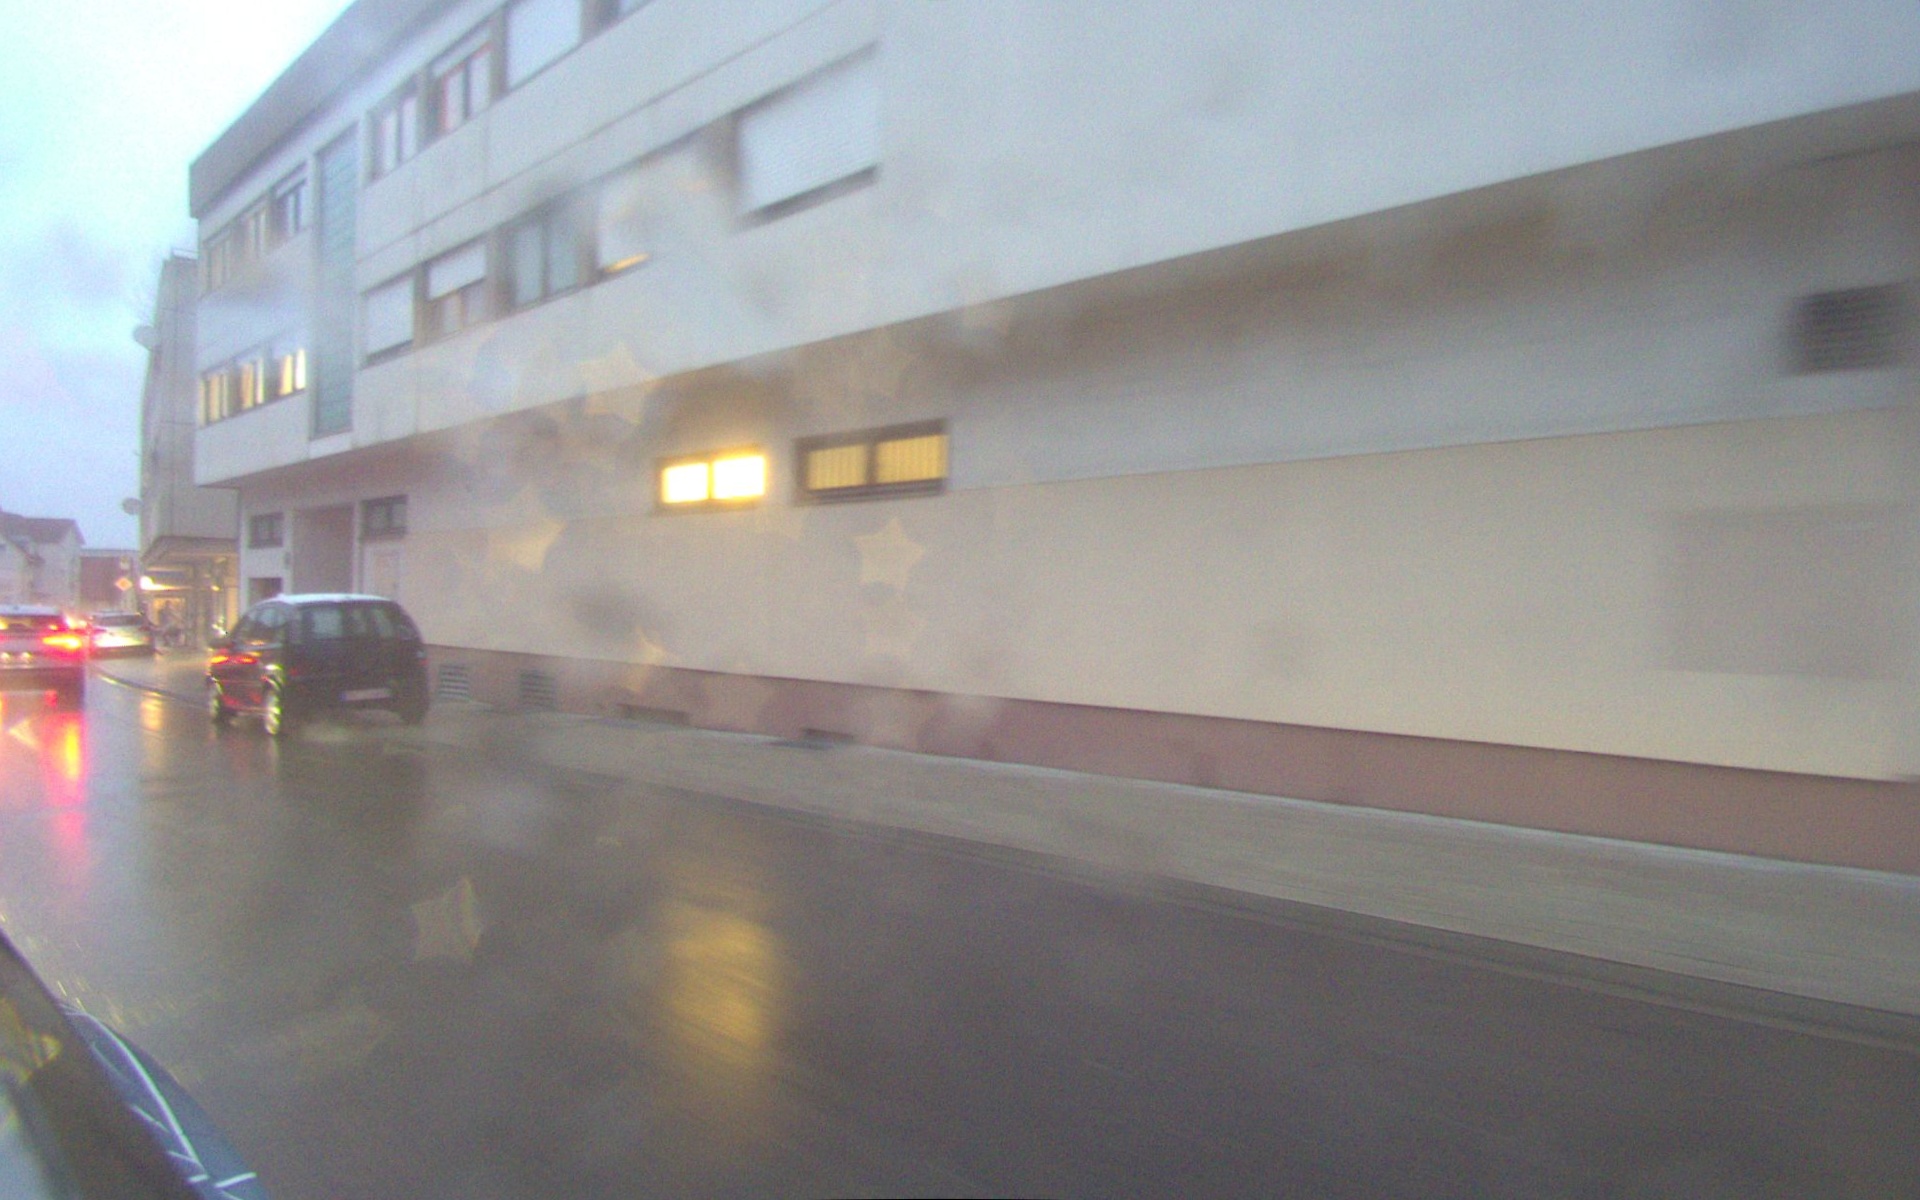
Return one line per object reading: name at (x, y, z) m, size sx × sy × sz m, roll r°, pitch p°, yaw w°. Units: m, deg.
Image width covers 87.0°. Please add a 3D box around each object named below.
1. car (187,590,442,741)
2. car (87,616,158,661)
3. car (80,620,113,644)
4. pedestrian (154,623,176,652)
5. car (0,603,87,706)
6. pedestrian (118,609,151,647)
car at (-8.403, 0.744, 13.059) m, size 3.810 × 1.655 × 1.775 m, roll -1°, pitch 0°, yaw 41°
car at (-29.211, 1.319, 35.254) m, size 1.655 × 1.457 × 4.433 m, roll 3°, pitch -3°, yaw -42°
car at (-62.547, 2.332, 73.375) m, size 1.699 × 1.626 × 3.822 m, roll -2°, pitch 0°, yaw -39°
pedestrian at (-36.333, 1.706, 46.255) m, size 0.746 × 1.320 × 0.829 m, roll -1°, pitch 0°, yaw -42°
car at (-16.493, 0.884, 17.464) m, size 4.400 × 1.608 × 1.790 m, roll -1°, pitch -1°, yaw 44°
pedestrian at (-42.778, 1.449, 52.441) m, size 1.182 × 1.953 × 0.979 m, roll 1°, pitch -2°, yaw -33°
